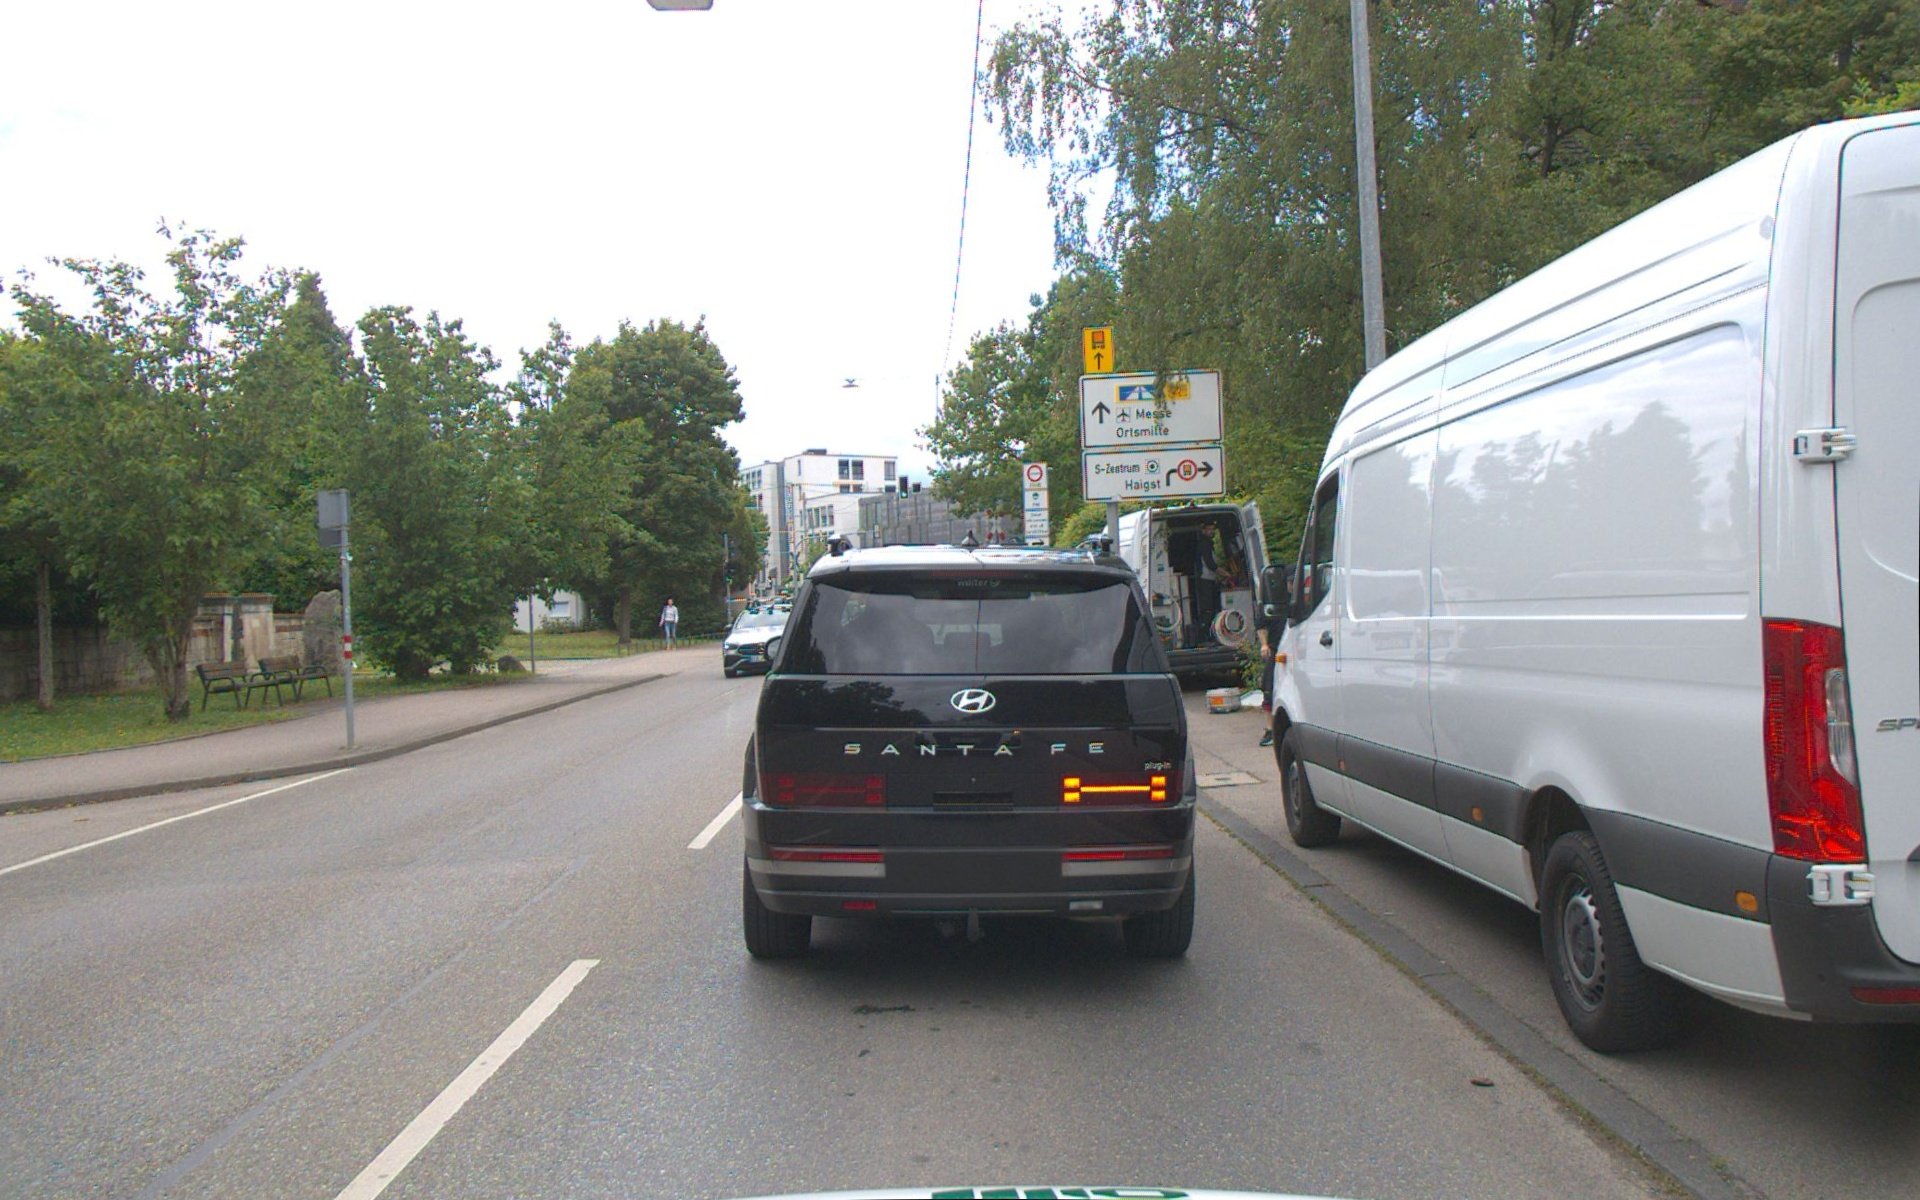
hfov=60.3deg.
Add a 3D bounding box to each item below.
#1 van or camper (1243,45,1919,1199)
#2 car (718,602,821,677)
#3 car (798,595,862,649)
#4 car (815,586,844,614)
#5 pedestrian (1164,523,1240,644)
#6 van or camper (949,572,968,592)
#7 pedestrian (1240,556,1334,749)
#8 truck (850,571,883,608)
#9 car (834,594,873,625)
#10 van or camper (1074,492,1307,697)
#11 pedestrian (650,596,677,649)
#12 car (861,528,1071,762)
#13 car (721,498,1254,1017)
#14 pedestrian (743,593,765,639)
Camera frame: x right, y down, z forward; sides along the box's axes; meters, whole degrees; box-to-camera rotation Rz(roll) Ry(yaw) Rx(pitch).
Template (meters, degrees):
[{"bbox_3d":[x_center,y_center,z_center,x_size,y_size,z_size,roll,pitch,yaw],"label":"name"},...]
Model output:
[{"bbox_3d":[2.881,0.032,7.027,1.951,2.670,6.543,-5,0,-1],"label":"van or camper"},{"bbox_3d":[-4.095,0.821,36.172,1.721,1.427,4.413,-4,0,-1],"label":"car"},{"bbox_3d":[-4.007,0.670,51.463,1.667,1.509,3.999,-4,0,-1],"label":"car"},{"bbox_3d":[-11.403,0.013,144.023,2.288,2.356,4.950,-2,0,-7],"label":"car"},{"bbox_3d":[3.482,-0.236,23.743,0.784,1.672,0.737,-3,-1,31],"label":"pedestrian"},{"bbox_3d":[-0.164,-1.869,172.496,1.760,2.033,3.820,1,0,-4],"label":"van or camper"},{"bbox_3d":[3.050,0.480,15.472,0.772,1.751,0.753,1,-1,6],"label":"pedestrian"},{"bbox_3d":[-10.568,-1.116,185.555,3.048,3.926,9.607,-2,0,-7],"label":"truck"},{"bbox_3d":[-5.634,0.502,87.993,1.778,1.443,4.827,-5,0,-1],"label":"car"},{"bbox_3d":[3.295,-0.023,25.308,2.294,2.537,6.600,-5,-1,-2],"label":"van or camper"},{"bbox_3d":[-10.084,0.769,56.284,0.751,1.779,0.904,0,0,-2],"label":"pedestrian"},{"bbox_3d":[0.025,0.415,16.890,1.858,2.077,3.993,1,0,-1],"label":"car"},{"bbox_3d":[0.075,0.569,7.856,1.858,1.807,3.993,1,0,-1],"label":"car"},{"bbox_3d":[-9.173,0.709,73.615,0.812,2.049,1.047,1,-1,1],"label":"pedestrian"}]
